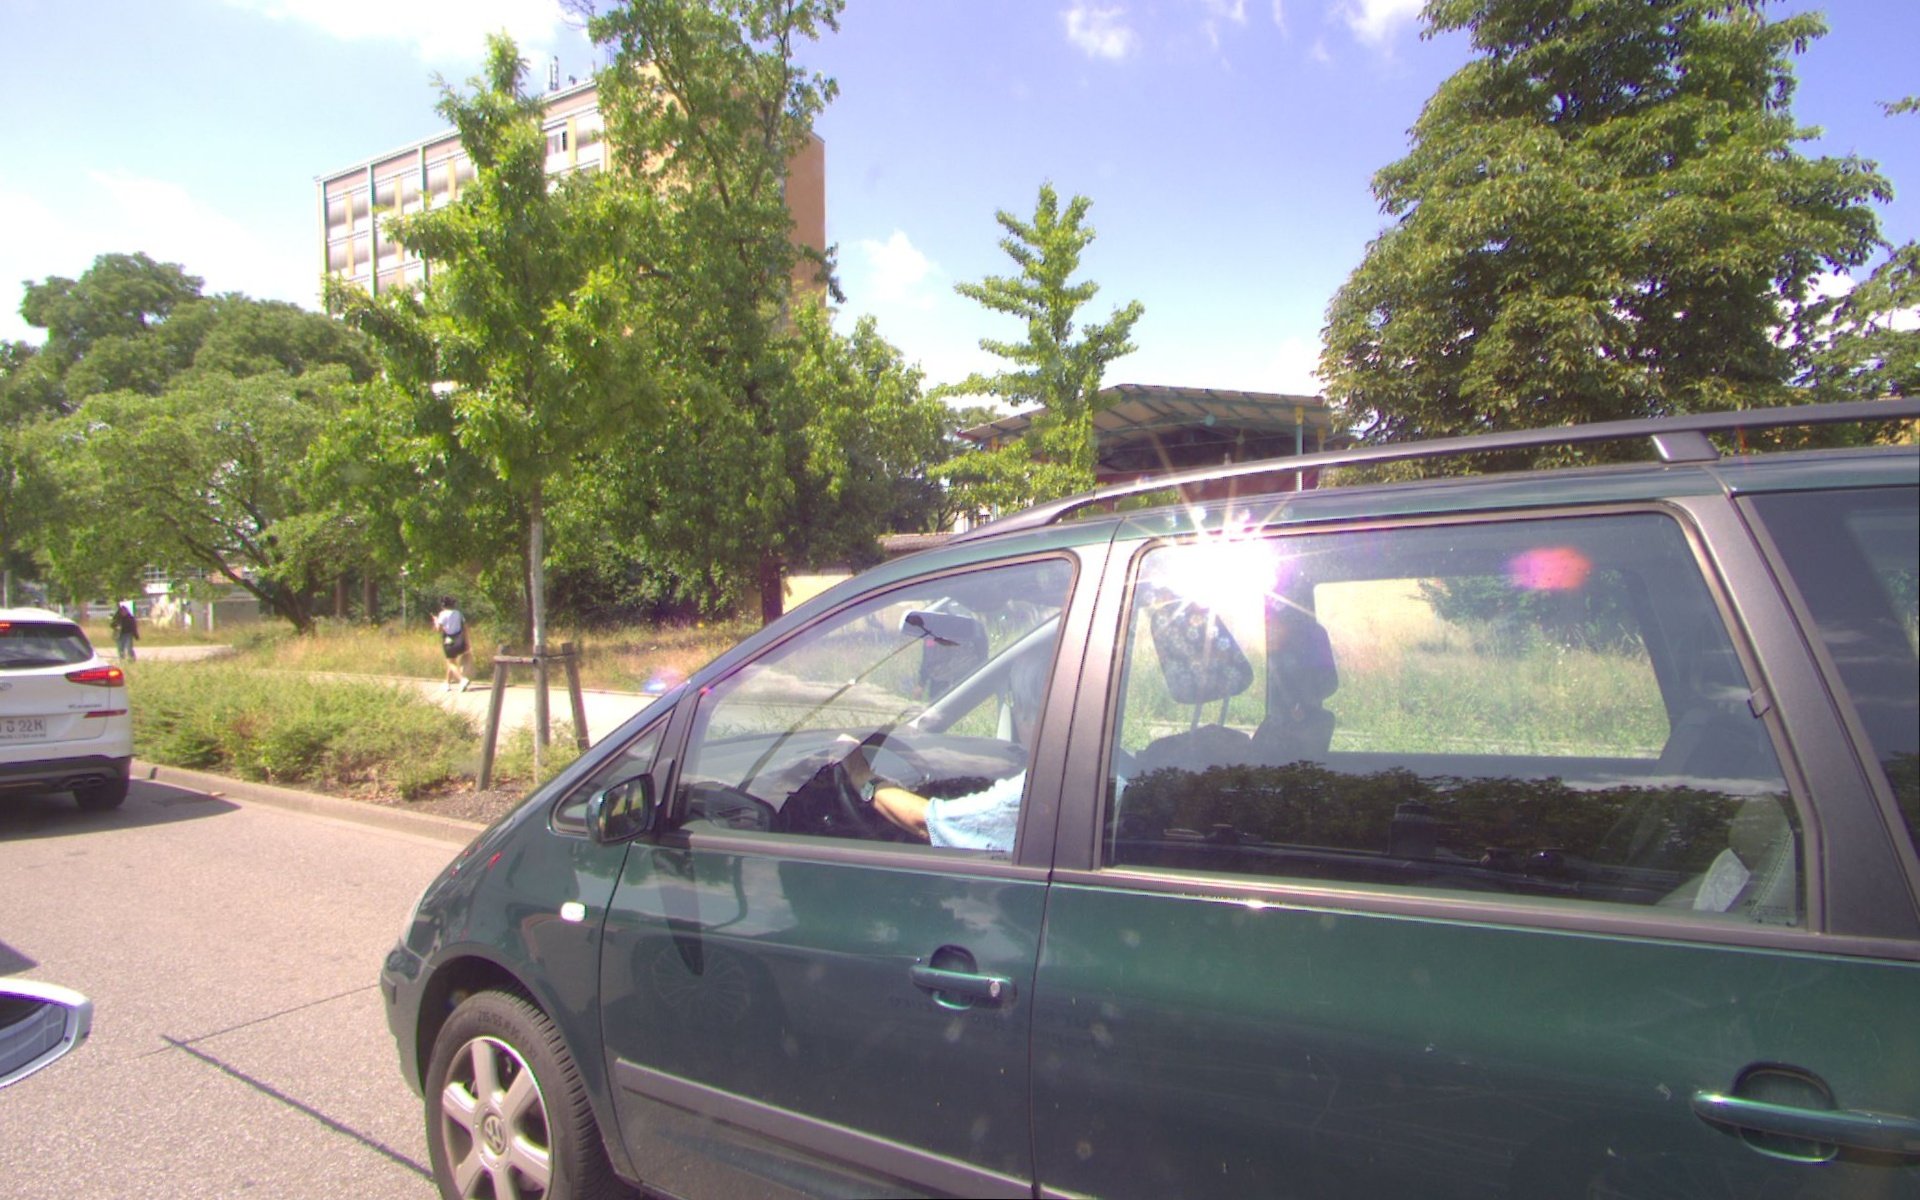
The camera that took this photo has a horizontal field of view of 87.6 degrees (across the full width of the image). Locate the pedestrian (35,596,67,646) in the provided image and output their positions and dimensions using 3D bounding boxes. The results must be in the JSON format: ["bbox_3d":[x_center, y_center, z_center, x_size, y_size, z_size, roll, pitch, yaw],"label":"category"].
[{"bbox_3d":[-33.459,0.774,36.859,0.806,1.813,0.756,0,0,37],"label":"pedestrian"}]

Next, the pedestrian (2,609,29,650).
[{"bbox_3d":[-44.609,1.379,47.314,0.805,1.874,0.757,0,1,33],"label":"pedestrian"}]

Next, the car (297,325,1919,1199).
[{"bbox_3d":[0.548,0.634,2.292,4.329,1.737,1.799,0,-2,32],"label":"car"}]

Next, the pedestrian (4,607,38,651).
[{"bbox_3d":[-39.919,1.224,42.577,0.802,1.874,0.759,0,1,22],"label":"pedestrian"}]

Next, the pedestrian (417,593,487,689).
[{"bbox_3d":[-8.618,0.676,17.006,0.804,1.578,0.757,0,1,33],"label":"pedestrian"}]

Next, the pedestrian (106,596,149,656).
[{"bbox_3d":[-23.524,0.726,28.296,0.805,1.677,0.756,0,1,36],"label":"pedestrian"}]

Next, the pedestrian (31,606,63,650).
[{"bbox_3d":[-39.667,1.197,43.498,0.803,1.874,0.759,0,1,24],"label":"pedestrian"}]

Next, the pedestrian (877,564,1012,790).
[{"bbox_3d":[-0.123,0.587,8.127,0.807,1.706,0.754,0,1,44],"label":"pedestrian"}]

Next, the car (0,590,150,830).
[{"bbox_3d":[-8.441,0.788,8.148,3.919,1.700,1.810,0,0,34],"label":"car"}]
